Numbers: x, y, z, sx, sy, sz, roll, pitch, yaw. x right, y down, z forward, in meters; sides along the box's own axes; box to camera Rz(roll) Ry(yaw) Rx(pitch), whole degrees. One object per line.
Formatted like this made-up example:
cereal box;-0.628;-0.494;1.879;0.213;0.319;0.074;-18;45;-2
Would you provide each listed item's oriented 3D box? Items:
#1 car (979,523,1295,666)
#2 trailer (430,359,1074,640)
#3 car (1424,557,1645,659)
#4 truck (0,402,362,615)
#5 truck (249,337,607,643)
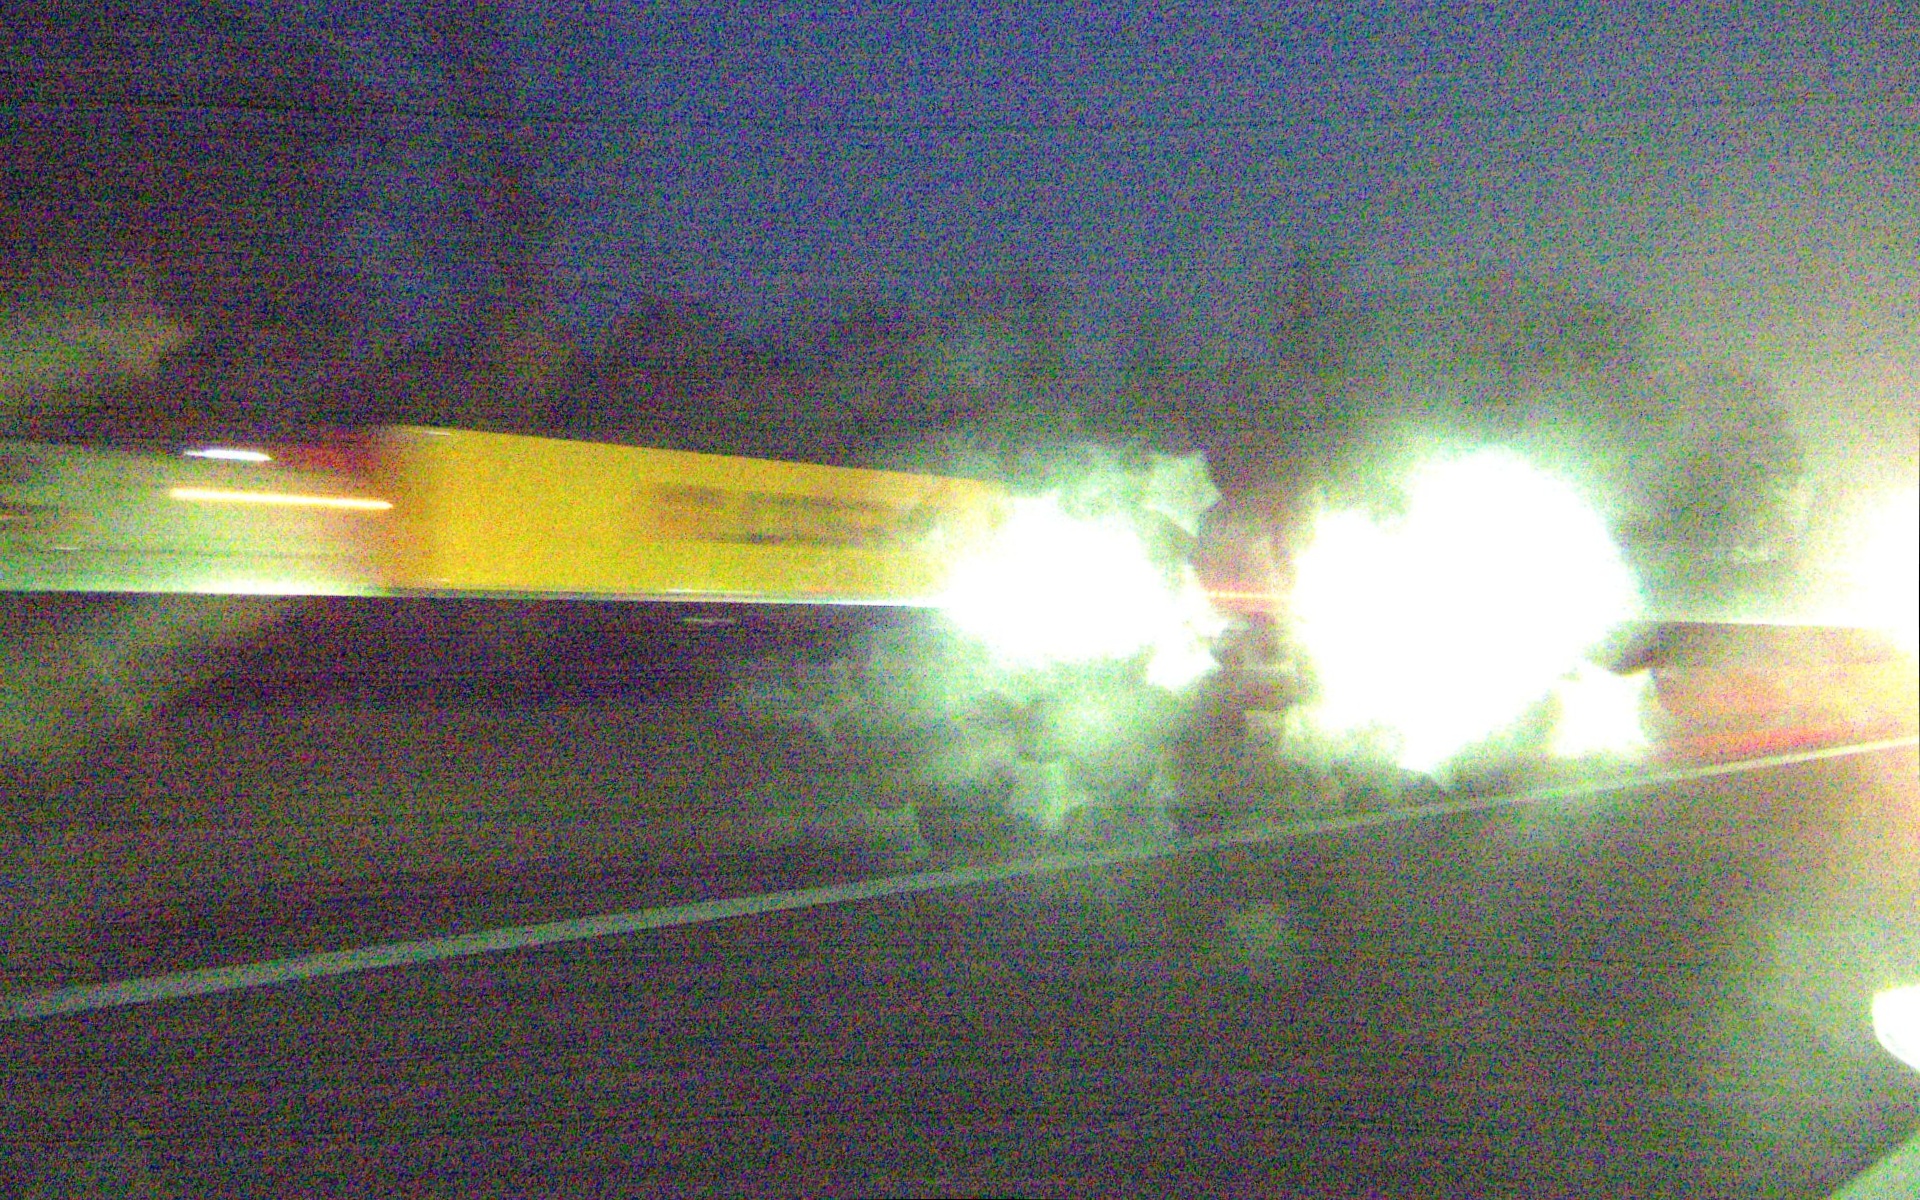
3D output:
car;3.015;-0.166;16.644;5.139;2.041;1.981;-1;5;-33
trailer;-4.068;-1.992;23.669;14.767;5.161;2.756;-1;5;-32
car;15.818;0.130;27.548;6.347;2.430;2.408;-1;4;-32
truck;-12.128;-1.257;14.412;6.053;2.708;2.272;1;4;-32
truck;-10.275;-1.950;19.780;5.816;5.167;2.737;0;4;-32
